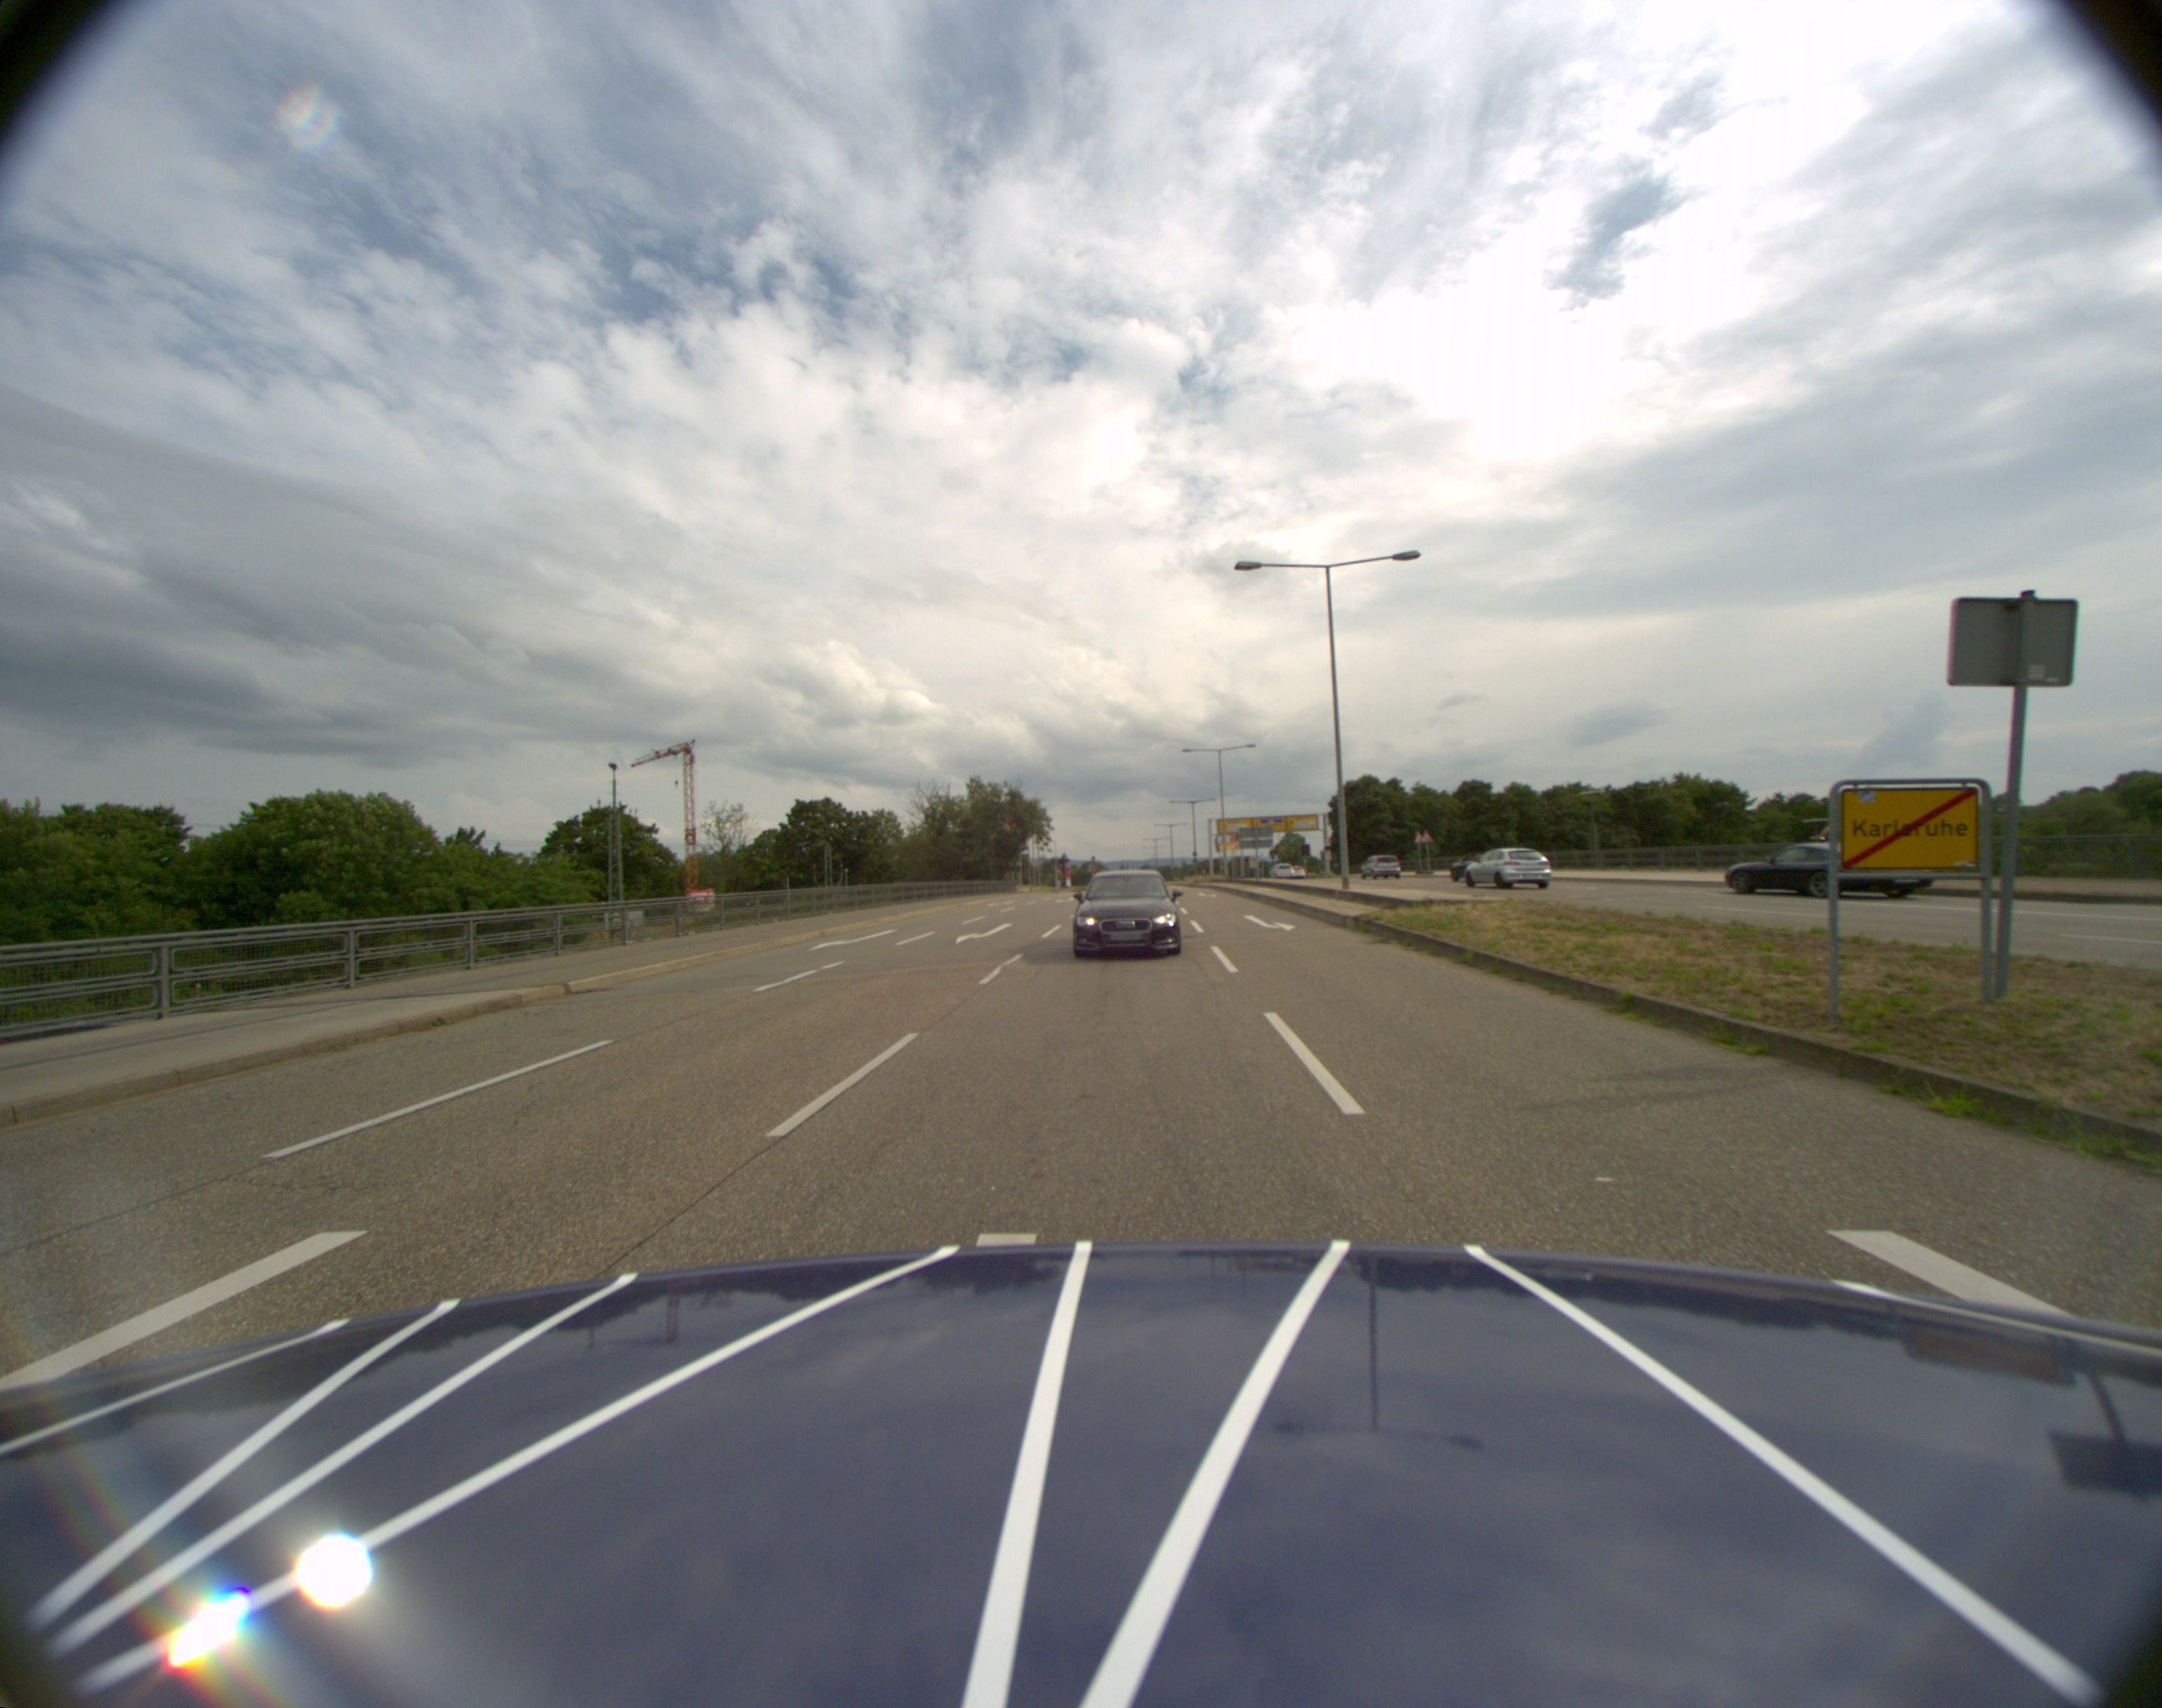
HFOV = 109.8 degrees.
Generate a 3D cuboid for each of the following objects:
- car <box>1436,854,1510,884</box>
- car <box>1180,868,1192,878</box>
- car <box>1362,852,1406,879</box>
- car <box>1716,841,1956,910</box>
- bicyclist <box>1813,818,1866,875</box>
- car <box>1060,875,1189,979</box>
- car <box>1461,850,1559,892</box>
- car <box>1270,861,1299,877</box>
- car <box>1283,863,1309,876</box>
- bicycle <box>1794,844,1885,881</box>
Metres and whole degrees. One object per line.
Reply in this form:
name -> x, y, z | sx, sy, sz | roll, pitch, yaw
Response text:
car -> 19.160, 0.709, 37.315 | 1.746, 1.402, 3.877 | -1, 0, 3
car -> 18.120, 3.230, 131.287 | 1.891, 1.630, 4.587 | -2, -1, 5
car -> 19.853, 0.732, 49.956 | 1.745, 1.649, 4.082 | -1, 0, 8
car -> 18.299, 0.468, 18.772 | 1.825, 1.438, 4.354 | -2, 0, 5
bicyclist -> 22.937, -0.208, 23.001 | 0.686, 1.662, 0.847 | -3, 0, -1
car -> 0.807, 1.140, 13.498 | 1.852, 1.355, 4.731 | -2, 0, 4
car -> 15.517, 0.595, 27.712 | 1.620, 1.402, 3.861 | -1, 0, 4
car -> 19.329, 1.401, 72.482 | 1.813, 1.407, 4.030 | -2, 0, 2
car -> 23.551, 1.709, 83.427 | 1.923, 1.407, 4.884 | -1, -1, 5
bicycle -> 22.949, 0.263, 23.049 | 0.686, 1.047, 1.994 | -3, -1, -1
